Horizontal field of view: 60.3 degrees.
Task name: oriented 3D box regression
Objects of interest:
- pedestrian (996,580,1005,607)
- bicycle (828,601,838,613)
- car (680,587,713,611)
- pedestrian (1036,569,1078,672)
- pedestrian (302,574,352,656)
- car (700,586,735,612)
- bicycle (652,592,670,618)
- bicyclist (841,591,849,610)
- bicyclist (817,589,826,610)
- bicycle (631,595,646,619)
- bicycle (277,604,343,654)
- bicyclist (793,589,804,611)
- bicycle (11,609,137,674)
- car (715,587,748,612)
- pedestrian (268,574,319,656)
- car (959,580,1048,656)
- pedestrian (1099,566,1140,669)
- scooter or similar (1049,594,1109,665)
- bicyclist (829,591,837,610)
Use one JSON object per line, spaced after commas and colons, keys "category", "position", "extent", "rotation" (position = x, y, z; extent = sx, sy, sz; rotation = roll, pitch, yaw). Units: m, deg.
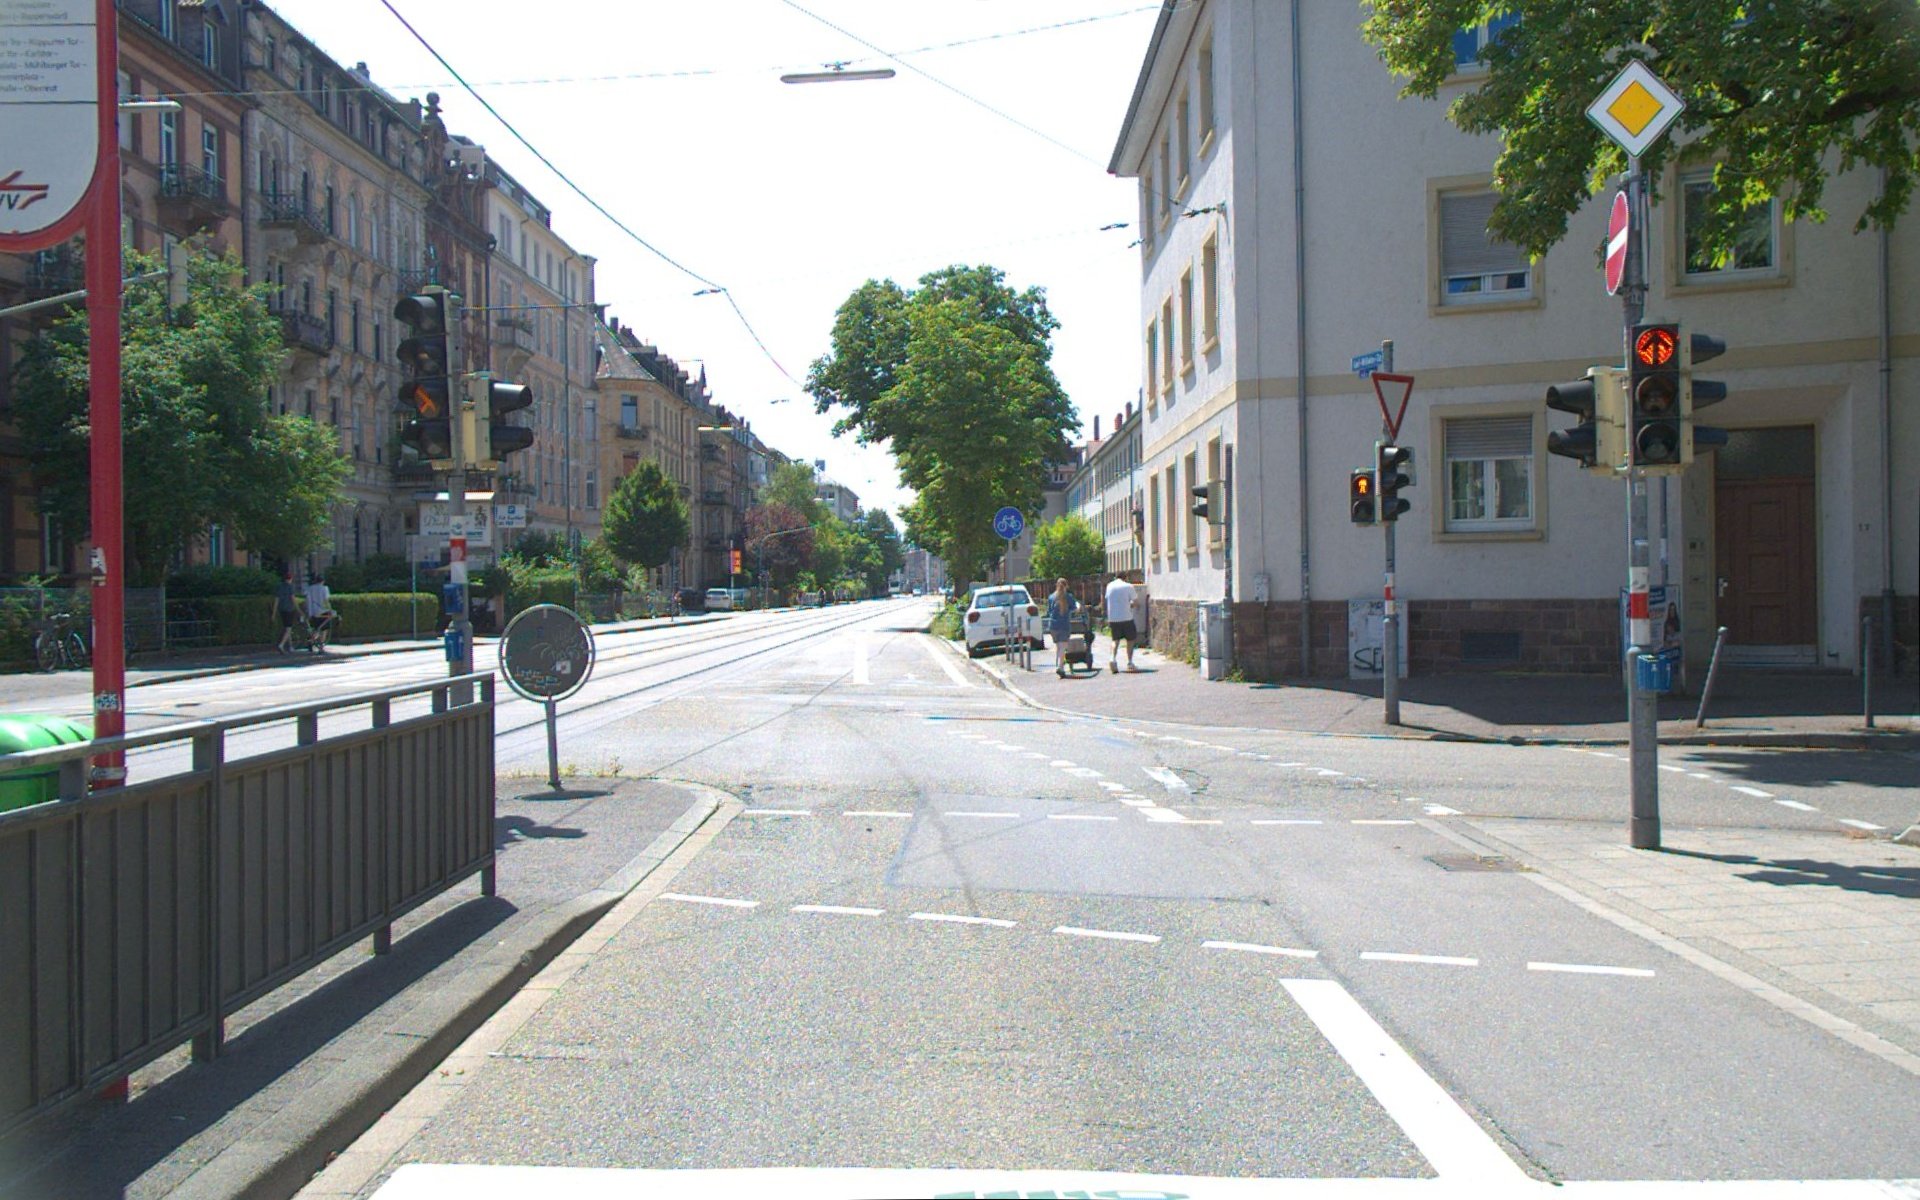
{"category": "pedestrian", "position": [2.452, -0.404, 101.245], "extent": [0.511, 1.590, 0.573], "rotation": [-1, 0, -1]}
{"category": "bicycle", "position": [-12.709, 0.697, 165.524], "extent": [0.712, 1.142, 2.085], "rotation": [1, 0, 1]}
{"category": "car", "position": [-19.675, -0.069, 123.599], "extent": [1.880, 1.745, 3.999], "rotation": [1, 0, -1]}
{"category": "pedestrian", "position": [1.614, 0.329, 27.363], "extent": [0.545, 1.674, 0.677], "rotation": [1, -1, 15]}
{"category": "pedestrian", "position": [-14.657, 0.340, 38.309], "extent": [0.799, 1.854, 0.873], "rotation": [1, 1, -1]}
{"category": "car", "position": [-16.876, -0.055, 115.304], "extent": [1.880, 1.745, 3.999], "rotation": [1, 0, -1]}
{"category": "bicycle", "position": [-15.277, 0.248, 84.427], "extent": [0.664, 1.301, 1.917], "rotation": [-1, 0, -4]}
{"category": "bicyclist", "position": [-11.519, 0.036, 165.572], "extent": [0.712, 1.850, 1.079], "rotation": [1, 0, 1]}
{"category": "bicyclist", "position": [-12.083, -0.019, 144.383], "extent": [0.712, 1.799, 1.079], "rotation": [1, 0, 1]}
{"category": "bicycle", "position": [-15.499, 0.333, 79.779], "extent": [0.665, 1.083, 1.913], "rotation": [-1, 0, -12]}
{"category": "bicycle", "position": [-15.884, 0.696, 40.507], "extent": [0.920, 1.156, 2.767], "rotation": [1, 0, -9]}
{"category": "bicyclist", "position": [-12.362, 0.006, 126.736], "extent": [0.712, 1.657, 1.079], "rotation": [1, 0, 1]}
{"category": "bicycle", "position": [-16.713, 0.756, 31.296], "extent": [0.918, 1.156, 2.773], "rotation": [1, 0, -2]}
{"category": "car", "position": [-17.044, -0.024, 123.565], "extent": [1.880, 1.745, 3.999], "rotation": [1, 0, -1]}
{"category": "pedestrian", "position": [-15.403, 0.332, 38.232], "extent": [0.799, 1.854, 0.873], "rotation": [1, 1, -1]}
{"category": "car", "position": [0.927, 0.396, 37.324], "extent": [1.778, 1.542, 3.999], "rotation": [-3, 0, -1]}
{"category": "pedestrian", "position": [2.651, 0.285, 27.417], "extent": [0.545, 1.674, 0.677], "rotation": [1, -1, 15]}
{"category": "scooter or similar", "position": [2.040, 0.501, 28.216], "extent": [0.546, 1.175, 1.203], "rotation": [1, -1, 29]}
{"category": "bicyclist", "position": [-12.690, 0.040, 165.570], "extent": [0.712, 1.850, 1.079], "rotation": [1, 0, 1]}
